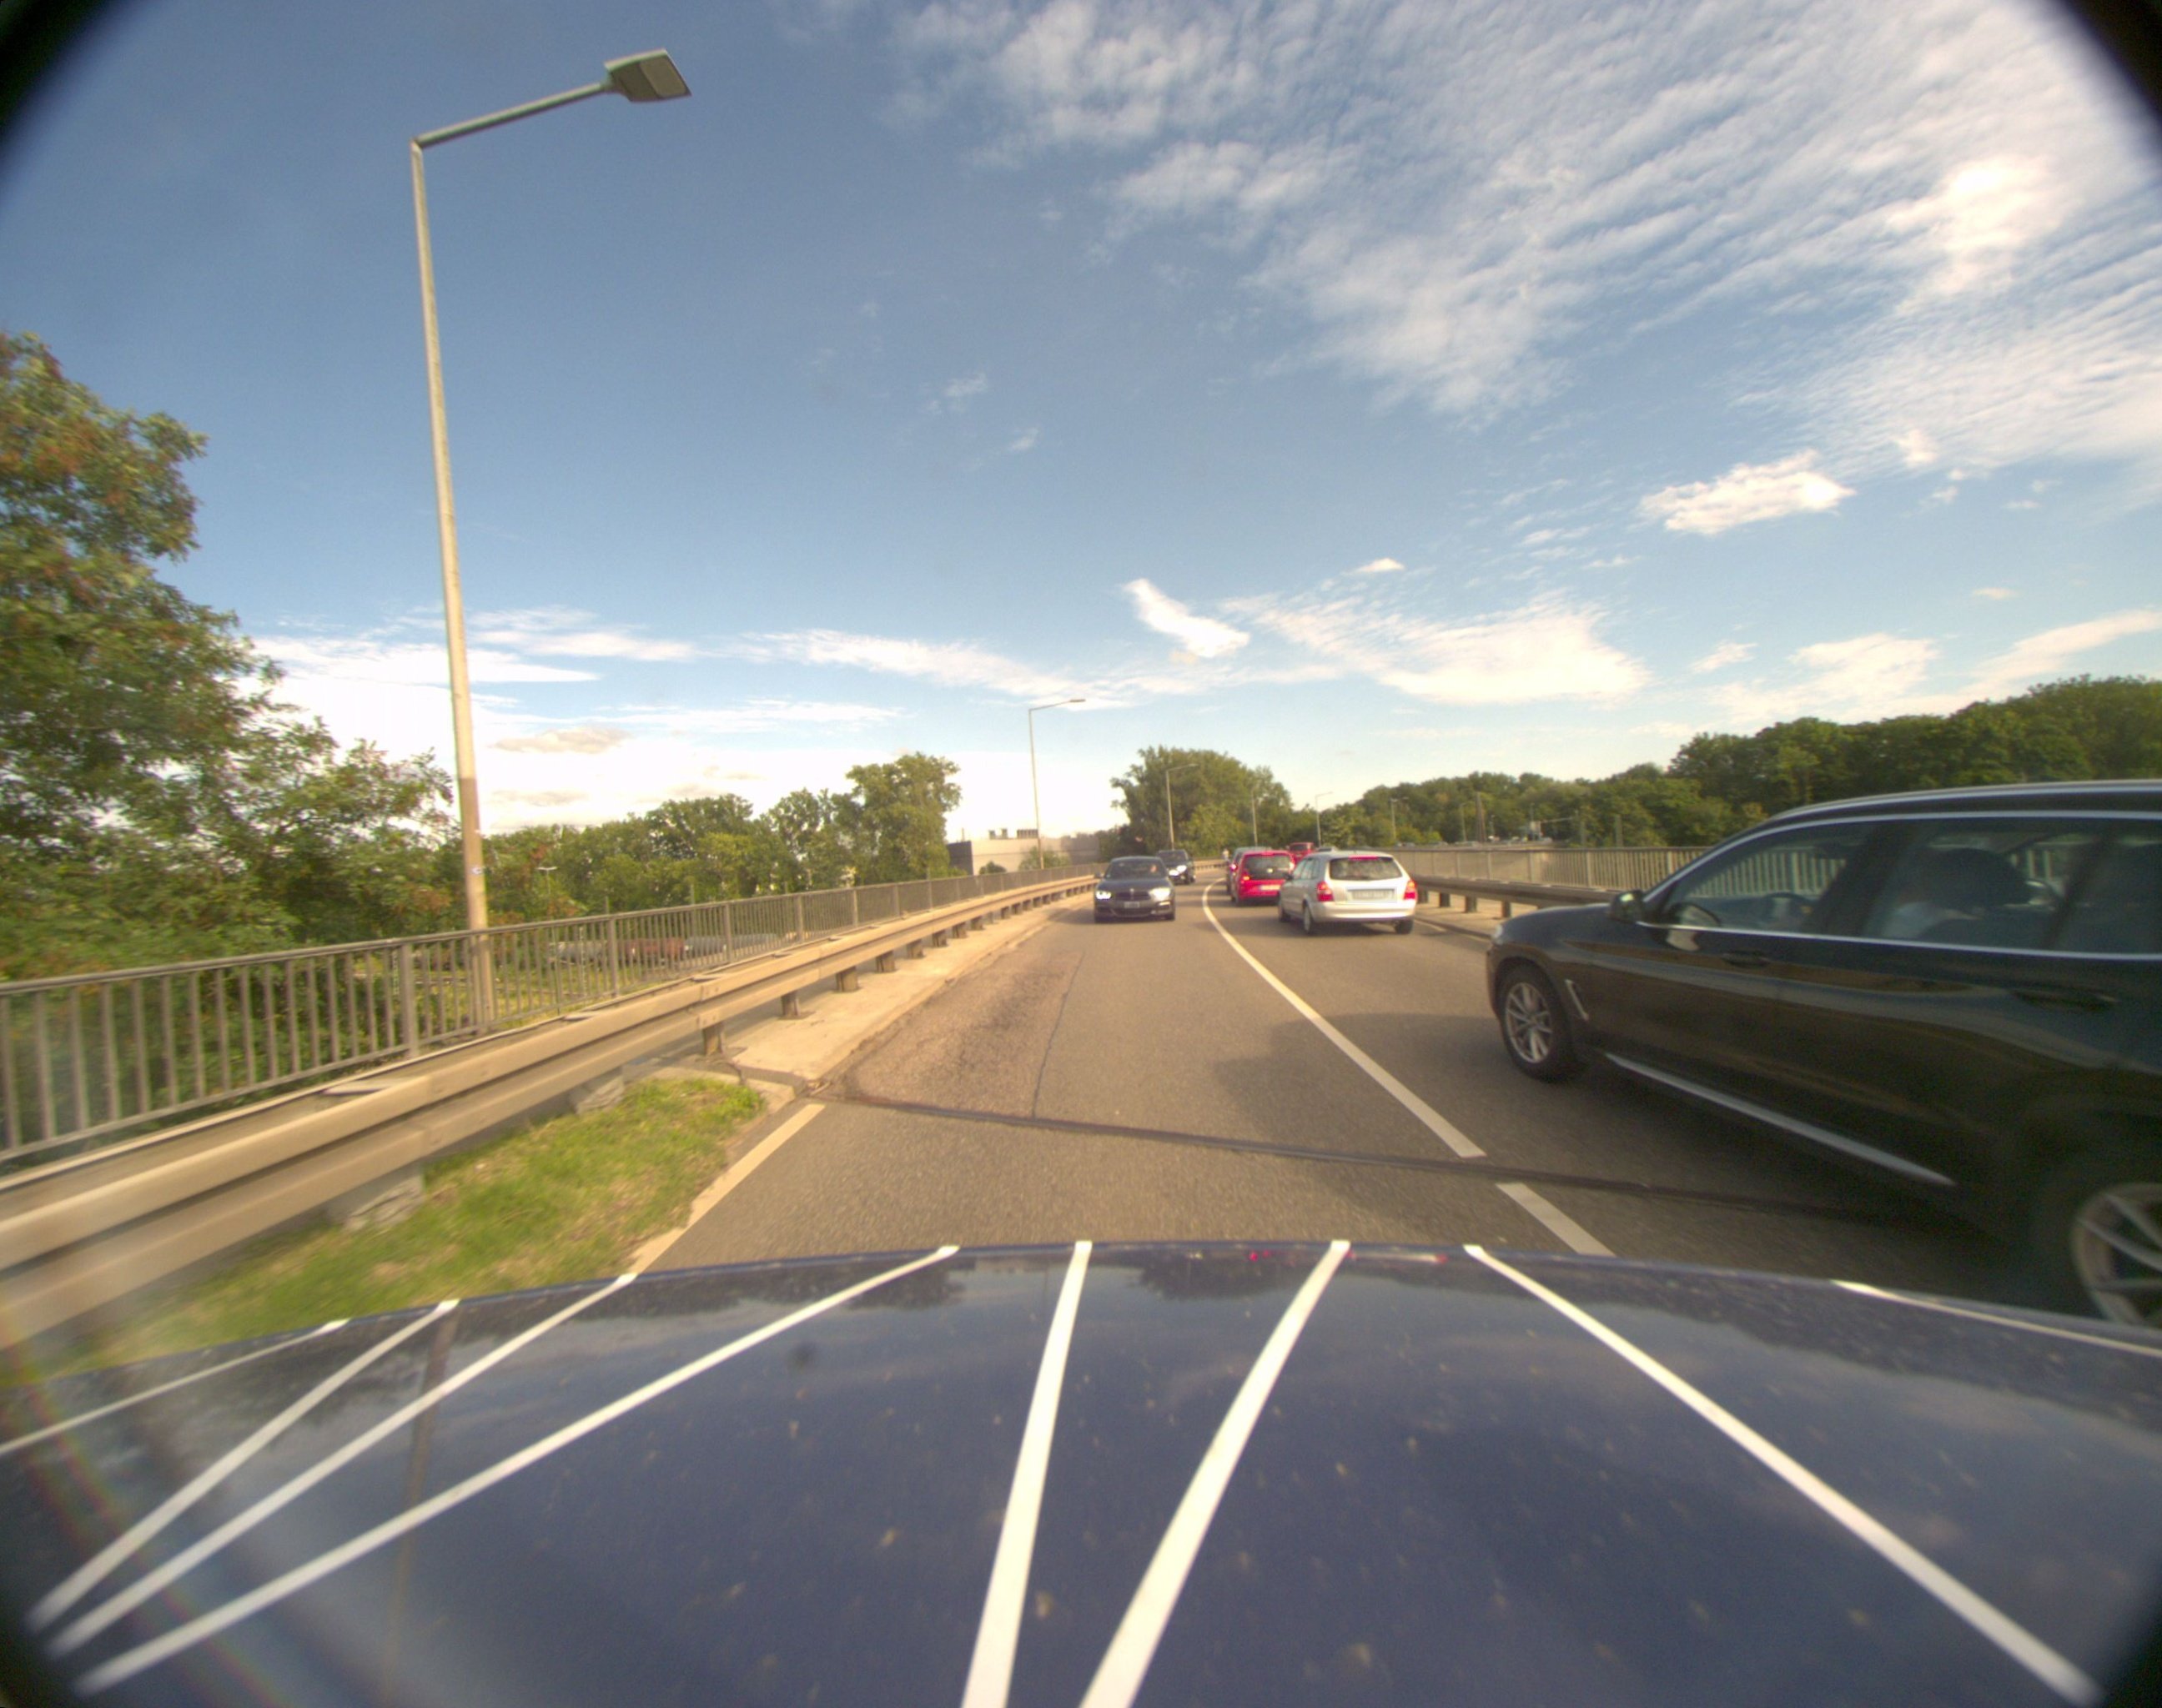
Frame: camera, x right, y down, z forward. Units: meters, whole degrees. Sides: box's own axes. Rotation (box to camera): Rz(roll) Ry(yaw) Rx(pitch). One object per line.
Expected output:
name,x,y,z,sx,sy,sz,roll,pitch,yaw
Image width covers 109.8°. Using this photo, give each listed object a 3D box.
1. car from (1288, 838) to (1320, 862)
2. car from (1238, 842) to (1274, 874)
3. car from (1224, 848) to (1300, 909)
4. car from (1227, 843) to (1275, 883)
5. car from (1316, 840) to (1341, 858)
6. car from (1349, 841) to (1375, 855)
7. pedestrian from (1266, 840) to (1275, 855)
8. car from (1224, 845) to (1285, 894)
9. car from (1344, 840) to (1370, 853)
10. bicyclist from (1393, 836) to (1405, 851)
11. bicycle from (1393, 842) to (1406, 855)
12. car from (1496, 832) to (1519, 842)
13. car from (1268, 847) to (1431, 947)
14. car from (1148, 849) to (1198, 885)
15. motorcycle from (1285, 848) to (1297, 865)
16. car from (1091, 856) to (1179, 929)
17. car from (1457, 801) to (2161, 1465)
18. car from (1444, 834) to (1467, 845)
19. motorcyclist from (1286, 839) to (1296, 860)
car,18.979,-0.394,64.552,2.009,1.892,4.875,-2,1,23
car,9.792,0.184,42.369,1.684,1.639,4.303,-2,1,16
car,4.872,0.592,20.868,1.602,1.456,3.738,-2,1,7
car,7.723,0.348,34.379,1.928,1.639,4.592,-2,1,13
car,24.345,-0.506,74.565,1.754,1.600,4.320,-2,1,25
car,32.236,-0.737,87.044,1.741,1.492,4.085,-2,1,35
pedestrian,20.868,-0.718,83.458,0.677,1.652,0.867,-2,1,31
car,6.016,0.482,26.706,1.802,1.511,4.010,-2,1,10
car,34.533,-0.993,95.051,1.815,1.498,4.399,-2,1,37
bicyclist,34.211,-1.133,81.722,0.767,1.651,1.122,-2,1,39
bicycle,34.262,-0.596,81.773,0.764,1.324,1.920,-2,1,39
car,67.161,-2.684,119.546,4.084,1.492,1.741,-3,1,-39
car,4.601,0.648,13.692,1.735,1.447,4.266,-3,0,6
car,4.405,0.561,35.956,1.817,1.498,4.395,-2,1,13
motorcycle,15.995,0.205,57.744,0.621,1.245,1.795,-2,1,22
car,1.354,0.804,17.723,1.785,1.396,3.972,-2,1,7
car,3.596,0.669,3.001,1.894,1.639,4.641,-1,0,-1
car,54.219,-2.153,110.107,4.085,1.492,1.741,-3,1,-45
motorcyclist,15.953,-0.319,57.692,0.621,1.544,0.939,-2,1,23
